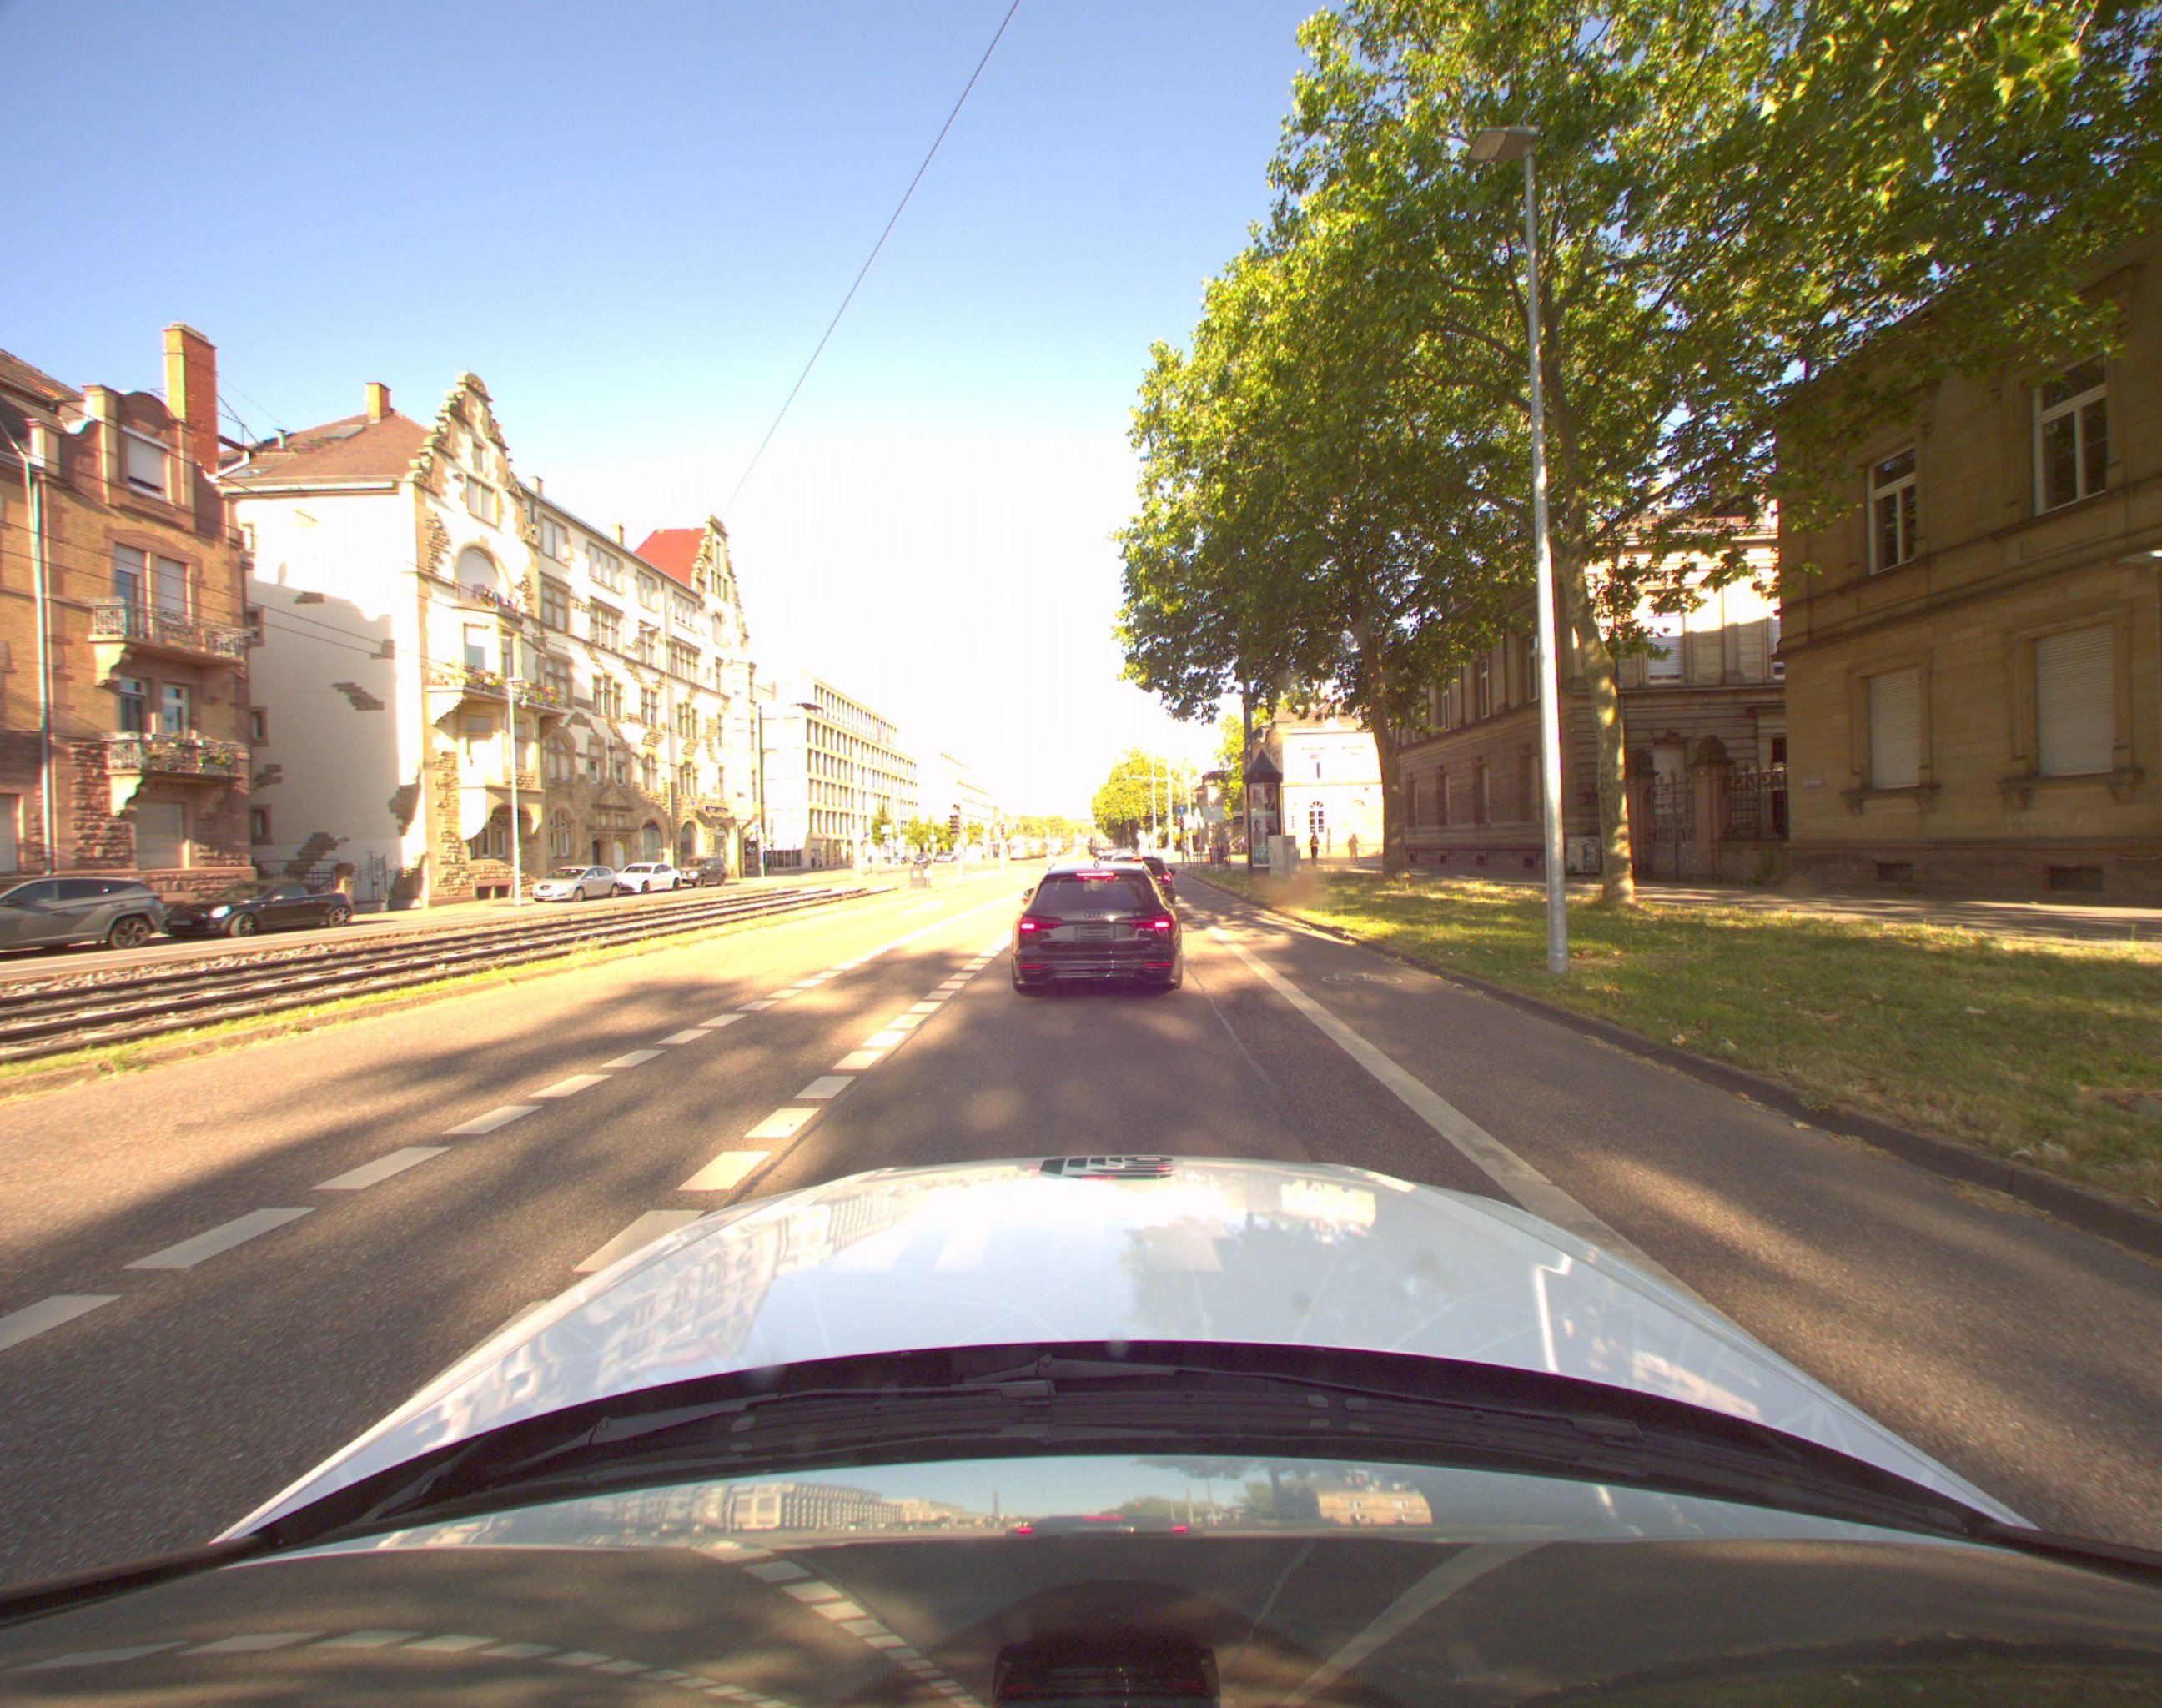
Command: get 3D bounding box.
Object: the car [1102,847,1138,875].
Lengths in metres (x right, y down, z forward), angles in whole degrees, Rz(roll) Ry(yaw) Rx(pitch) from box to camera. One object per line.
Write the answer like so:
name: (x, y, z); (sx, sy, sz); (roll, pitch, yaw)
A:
car: (2.153, 0.363, 45.008); (1.895, 1.486, 4.147); (-1, 0, 2)

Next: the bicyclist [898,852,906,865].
bicyclist: (-22.348, 0.554, 101.742); (0.682, 1.562, 0.786); (-2, 0, 3)

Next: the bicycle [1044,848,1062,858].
bicycle: (-3.445, -0.139, 100.728); (2.018, 1.108, 0.757); (-2, 1, -30)

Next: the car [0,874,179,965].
car: (-21.759, 1.303, 16.517); (1.849, 1.622, 4.504); (1, 1, 1)

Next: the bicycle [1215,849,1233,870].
bicycle: (7.261, 0.265, 41.317); (0.538, 1.061, 1.770); (-2, 0, -2)

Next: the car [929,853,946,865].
car: (-22.465, 0.754, 127.712); (1.835, 1.812, 4.114); (-2, 0, 1)

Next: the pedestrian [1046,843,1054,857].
pedestrian: (-3.918, -0.463, 102.181); (0.743, 1.741, 0.658); (-2, 0, -25)

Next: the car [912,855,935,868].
car: (-18.667, 0.853, 96.730); (1.814, 1.457, 4.165); (-2, 0, 0)

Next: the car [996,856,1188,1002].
car: (0.200, 0.756, 10.196); (1.895, 1.421, 4.147); (-1, 0, 2)

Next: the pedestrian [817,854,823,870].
pedestrian: (-30.963, 0.949, 96.676); (0.535, 1.843, 0.438); (-2, 0, -36)

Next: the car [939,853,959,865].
car: (-18.440, 0.667, 113.860); (1.812, 1.457, 4.545); (-2, 0, 4)

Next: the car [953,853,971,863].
car: (-18.032, 0.581, 123.312); (1.812, 1.457, 4.161); (-2, 0, 4)

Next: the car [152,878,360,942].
car: (-21.472, 1.413, 21.425); (1.616, 1.354, 3.727); (1, 1, 1)

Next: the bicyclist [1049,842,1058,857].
bicyclist: (-3.427, -0.602, 100.751); (0.761, 1.818, 0.757); (-2, 0, -30)

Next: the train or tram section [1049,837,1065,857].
train or tram section: (-4.494, -1.345, 153.575); (2.600, 3.450, 11.132); (-2, 1, 0)

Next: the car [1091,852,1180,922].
car: (1.269, 0.721, 19.735); (1.895, 1.486, 4.147); (-1, 0, 2)

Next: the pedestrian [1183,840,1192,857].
pedestrian: (10.599, -0.536, 81.144); (0.680, 1.660, 0.758); (-2, 0, 0)

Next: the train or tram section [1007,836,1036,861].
train or tram section: (-8.697, -0.850, 121.036); (2.802, 3.489, 13.211); (-2, 0, 2)

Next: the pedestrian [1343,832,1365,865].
pedestrian: (13.685, -0.296, 40.845); (0.766, 1.606, 0.987); (-2, 0, 3)

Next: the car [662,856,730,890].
car: (-21.151, 1.009, 44.893); (1.711, 1.675, 4.217); (0, 1, 0)

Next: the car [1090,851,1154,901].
car: (1.332, 0.656, 26.661); (1.895, 1.486, 4.147); (-1, 0, 2)

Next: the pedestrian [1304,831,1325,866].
pedestrian: (11.789, -0.276, 41.160); (0.766, 1.709, 1.043); (-2, 0, 3)

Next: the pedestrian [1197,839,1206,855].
pedestrian: (14.788, -0.837, 100.150); (0.975, 1.865, 0.827); (-2, 0, 1)

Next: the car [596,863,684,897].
car: (-21.279, 1.202, 39.550); (1.711, 1.423, 4.656); (0, 1, 0)

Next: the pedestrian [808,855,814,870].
pedestrian: (-31.887, 1.007, 96.265); (0.475, 1.843, 0.438); (-2, 0, -36)

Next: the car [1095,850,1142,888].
car: (1.595, 0.597, 34.680); (1.895, 1.486, 4.147); (-1, 0, 2)

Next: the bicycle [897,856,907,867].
bicycle: (-22.400, 0.923, 101.763); (0.682, 1.381, 1.948); (-2, 0, 3)

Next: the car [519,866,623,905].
car: (-21.204, 1.276, 34.086); (1.704, 1.430, 4.222); (0, 1, 0)
